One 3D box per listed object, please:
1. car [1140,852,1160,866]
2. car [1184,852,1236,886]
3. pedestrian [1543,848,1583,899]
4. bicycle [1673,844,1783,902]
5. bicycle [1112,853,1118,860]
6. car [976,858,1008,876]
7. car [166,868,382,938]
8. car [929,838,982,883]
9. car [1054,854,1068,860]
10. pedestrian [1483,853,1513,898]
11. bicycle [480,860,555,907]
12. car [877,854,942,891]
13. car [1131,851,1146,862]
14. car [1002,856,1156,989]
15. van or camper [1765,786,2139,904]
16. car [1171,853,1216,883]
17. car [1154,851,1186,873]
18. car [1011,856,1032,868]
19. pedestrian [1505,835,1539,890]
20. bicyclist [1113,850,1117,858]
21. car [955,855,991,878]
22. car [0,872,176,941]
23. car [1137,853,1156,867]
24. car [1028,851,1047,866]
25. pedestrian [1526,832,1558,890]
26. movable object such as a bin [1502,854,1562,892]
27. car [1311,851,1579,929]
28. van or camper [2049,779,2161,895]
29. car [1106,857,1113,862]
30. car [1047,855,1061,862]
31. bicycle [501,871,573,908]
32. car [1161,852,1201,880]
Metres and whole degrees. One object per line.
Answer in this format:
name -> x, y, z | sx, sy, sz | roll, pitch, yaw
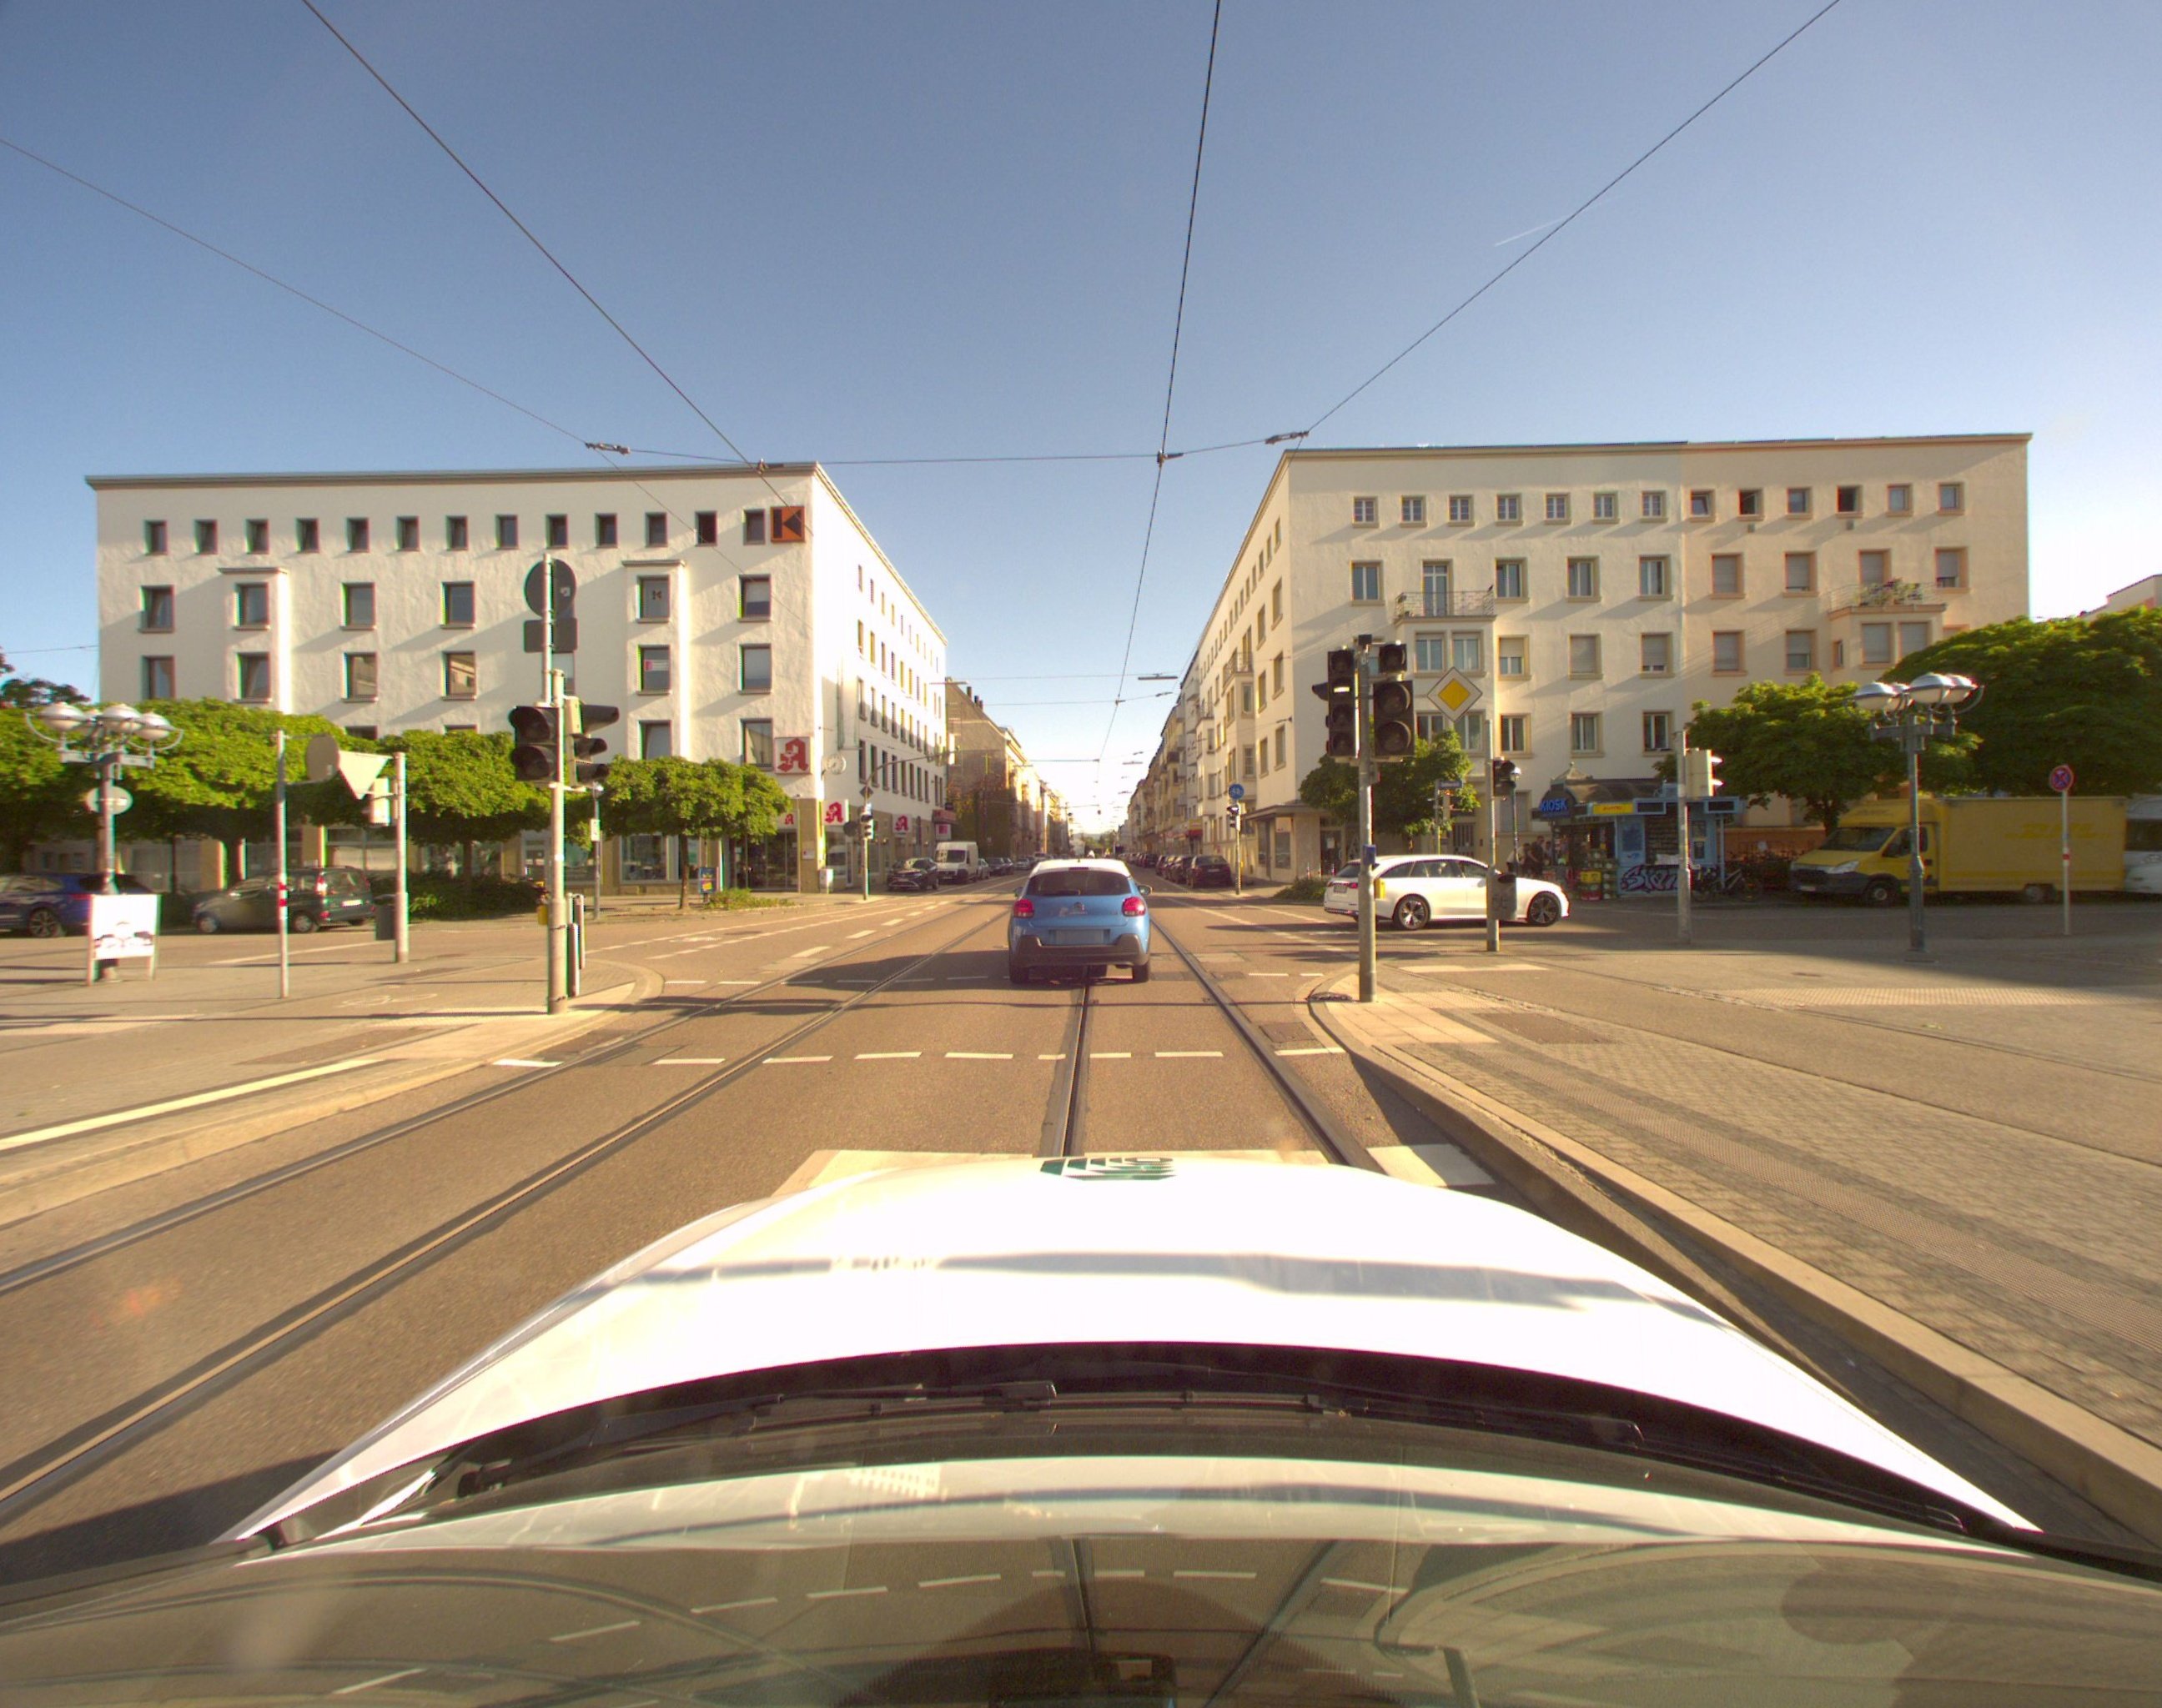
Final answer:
car -> 7.385, 0.513, 87.483 | 1.985, 1.464, 4.507 | -1, 0, 3
car -> 5.916, 0.673, 37.796 | 1.902, 1.464, 4.003 | -1, 0, 3
pedestrian -> 13.974, 0.561, 23.624 | 0.727, 1.409, 0.755 | -1, 3, 2
bicycle -> 17.378, 0.503, 21.890 | 2.376, 1.531, 0.726 | 0, 0, 1
bicycle -> 8.045, 0.589, 192.863 | 0.913, 1.389, 3.142 | -1, 0, 12
car -> -6.938, 1.007, 63.935 | 1.986, 1.398, 4.157 | 0, -1, 1
car -> -21.583, 1.273, 21.891 | 3.972, 1.706, 1.826 | -1, 0, 1
car -> -7.364, 0.367, 48.524 | 2.078, 2.542, 6.206 | 0, 0, 1
car -> -4.172, 0.684, 170.589 | 1.980, 1.156, 4.528 | -1, 0, 11
pedestrian -> 12.413, 0.642, 24.251 | 0.733, 1.316, 0.631 | -1, 0, 25
bicycle -> -20.144, 1.021, 29.203 | 0.614, 1.607, 2.625 | -1, 0, 6
car -> -7.932, 0.853, 38.167 | 1.986, 1.569, 4.403 | 2, -1, 1
car -> 8.345, 0.385, 118.557 | 1.985, 1.464, 4.003 | -1, 0, 3
car -> 0.040, 0.781, 11.089 | 1.721, 1.482, 3.828 | 0, 0, 2
van or camper -> 22.514, -0.245, 21.326 | 7.093, 2.747, 2.372 | -1, 1, 2
car -> 5.892, 0.721, 43.140 | 1.985, 1.464, 4.003 | -1, 0, 3
car -> 6.350, 0.563, 58.275 | 1.985, 1.464, 4.003 | -1, 0, 3
car -> -6.476, 0.893, 89.033 | 1.986, 1.325, 3.923 | 0, -1, 1
pedestrian -> 15.000, 0.281, 27.731 | 0.780, 1.839, 0.679 | -1, 0, 5
bicyclist -> 8.041, 0.011, 192.819 | 0.804, 2.014, 0.925 | 0, -1, 10
car -> -7.286, 0.864, 55.151 | 1.881, 1.496, 3.562 | 0, -1, 1
car -> -27.525, 1.369, 21.654 | 4.591, 1.662, 1.999 | -1, 0, -1
car -> 7.664, 0.699, 95.380 | 1.985, 1.464, 4.003 | -1, 0, 3
car -> -5.992, 0.662, 112.665 | 1.997, 2.014, 4.694 | 0, -1, 4
pedestrian -> 14.752, 0.223, 26.060 | 0.650, 1.839, 0.660 | -1, 0, 5
movable object such as a bin -> 14.029, 0.578, 25.378 | 1.194, 1.153, 1.218 | -1, 0, 2
car -> 7.429, 0.681, 16.840 | 4.798, 1.464, 1.985 | 0, 0, -9
van or camper -> 29.776, -0.488, 20.973 | 6.374, 2.839, 2.381 | -1, 0, 5
car -> 8.798, 1.710, 253.370 | 1.986, 1.772, 4.002 | -1, 0, 2
car -> -4.642, 0.832, 139.927 | 1.985, 1.156, 4.003 | -1, 0, 3
bicycle -> -19.419, 1.243, 29.158 | 0.615, 1.190, 2.624 | -1, 0, 5
car -> 5.838, 0.690, 47.878 | 1.985, 1.501, 4.003 | -1, 0, 3
